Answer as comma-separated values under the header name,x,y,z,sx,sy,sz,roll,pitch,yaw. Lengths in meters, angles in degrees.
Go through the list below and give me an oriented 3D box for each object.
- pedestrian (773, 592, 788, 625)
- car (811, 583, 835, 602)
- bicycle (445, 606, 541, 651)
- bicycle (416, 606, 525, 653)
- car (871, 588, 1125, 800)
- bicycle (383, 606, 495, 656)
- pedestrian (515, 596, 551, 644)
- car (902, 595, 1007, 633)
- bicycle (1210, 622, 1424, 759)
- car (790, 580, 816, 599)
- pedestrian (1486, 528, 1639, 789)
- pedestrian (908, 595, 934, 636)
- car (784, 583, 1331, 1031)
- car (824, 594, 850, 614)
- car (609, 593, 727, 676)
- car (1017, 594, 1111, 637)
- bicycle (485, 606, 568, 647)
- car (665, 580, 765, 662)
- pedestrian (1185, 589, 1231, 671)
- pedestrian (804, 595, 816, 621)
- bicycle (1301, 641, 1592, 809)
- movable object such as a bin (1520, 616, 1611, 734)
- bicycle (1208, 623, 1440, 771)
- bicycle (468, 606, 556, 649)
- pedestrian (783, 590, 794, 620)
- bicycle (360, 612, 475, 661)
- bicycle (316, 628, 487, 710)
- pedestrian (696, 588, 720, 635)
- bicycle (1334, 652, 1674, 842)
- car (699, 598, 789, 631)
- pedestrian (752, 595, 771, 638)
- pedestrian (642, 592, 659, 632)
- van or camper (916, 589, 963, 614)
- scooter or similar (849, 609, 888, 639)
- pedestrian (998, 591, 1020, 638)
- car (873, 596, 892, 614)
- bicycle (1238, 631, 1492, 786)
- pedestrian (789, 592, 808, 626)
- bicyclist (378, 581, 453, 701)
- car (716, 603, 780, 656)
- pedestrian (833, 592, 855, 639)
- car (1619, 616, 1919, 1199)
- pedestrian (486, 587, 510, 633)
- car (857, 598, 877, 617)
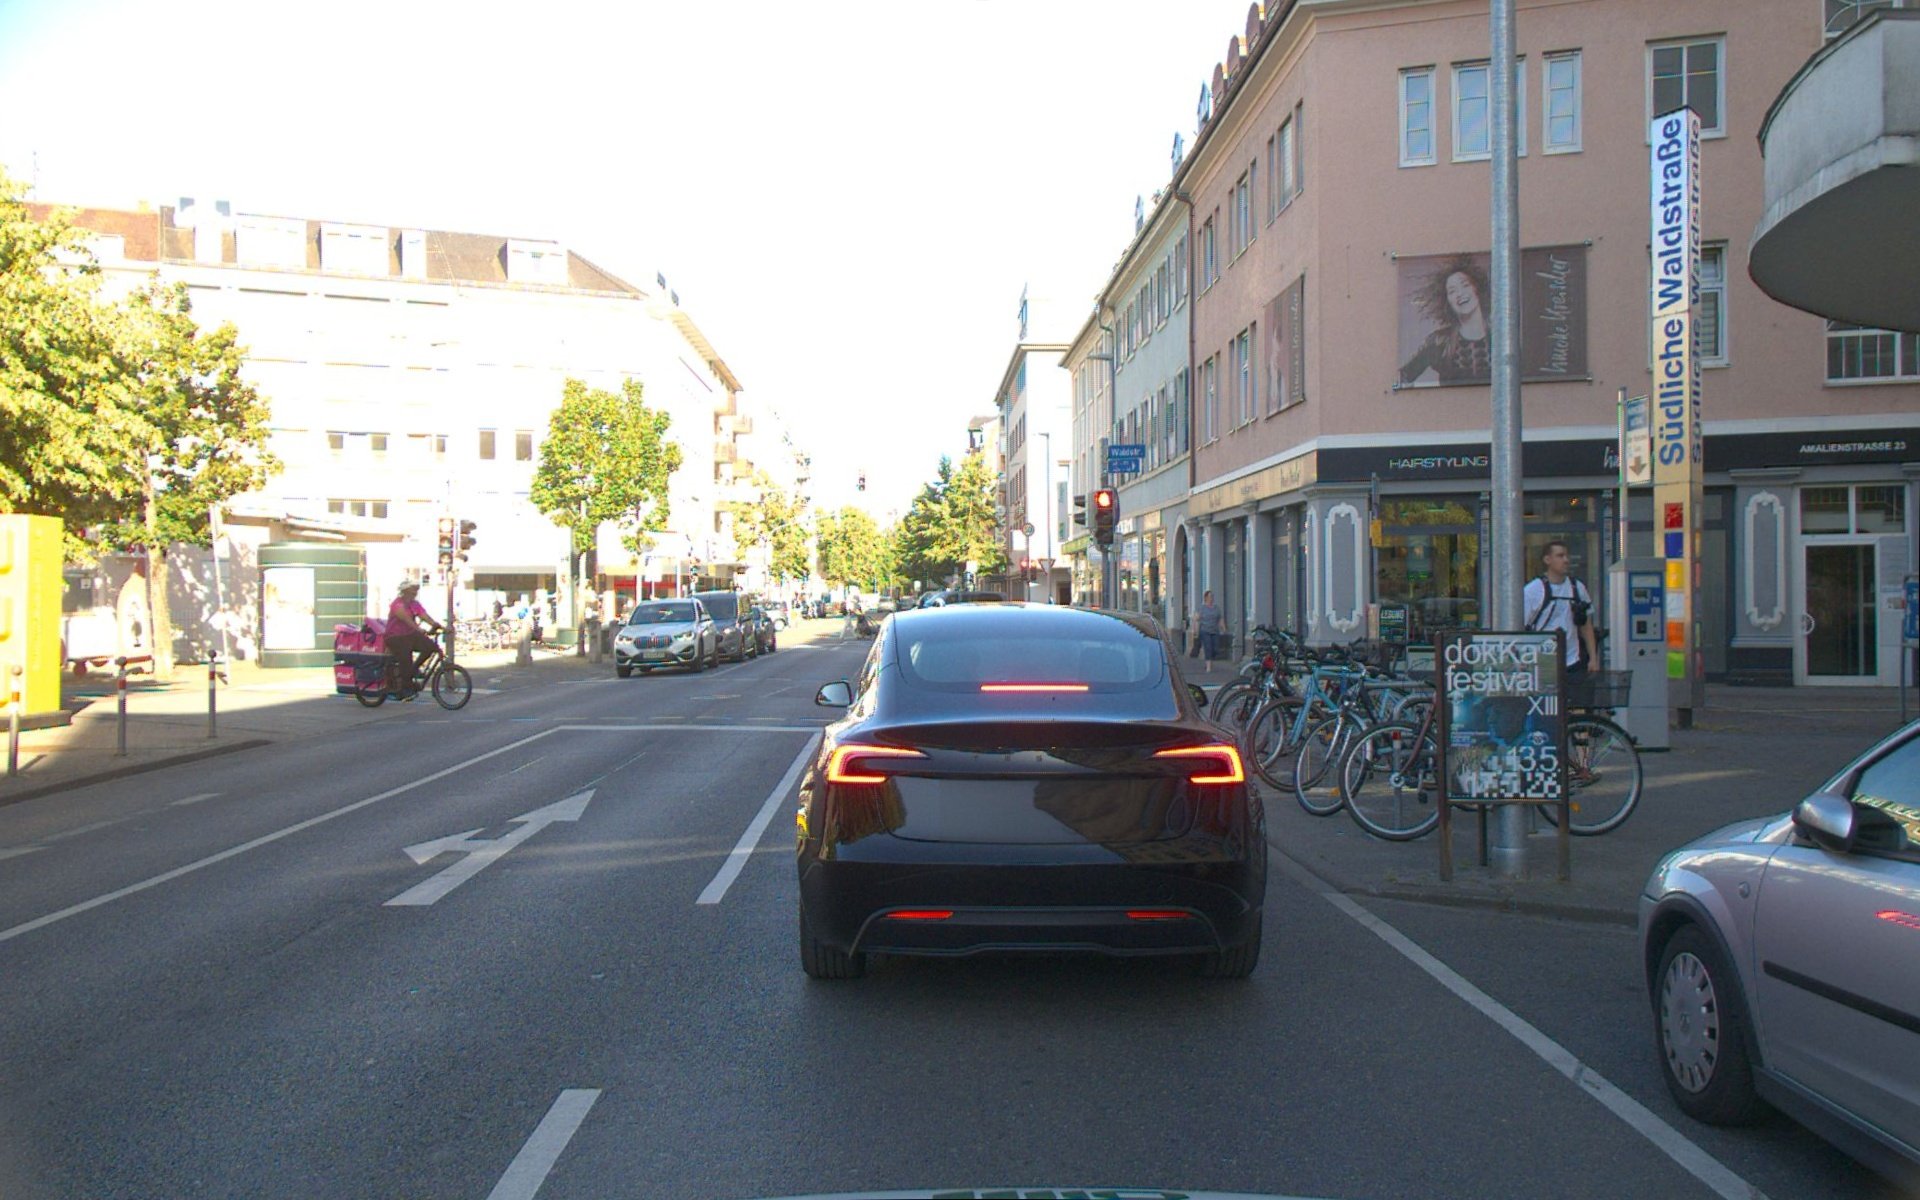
name,x,y,z,sx,sy,sz,roll,pitch,yaw
pedestrian,-10.524,0.504,97.081,0.721,1.900,0.787,1,-1,-17
car,-15.594,-0.809,188.054,2.228,2.049,4.717,1,0,0
bicycle,-14.007,0.850,49.635,2.609,1.281,0.942,1,0,-4
bicycle,-13.998,0.835,47.316,2.818,1.292,0.942,1,0,-4
car,0.244,0.689,14.187,1.812,1.507,4.450,1,0,-1
bicycle,-14.122,0.848,44.915,2.725,1.296,0.932,1,0,-4
pedestrian,-14.799,0.697,57.346,1.077,1.639,1.259,1,0,-20
car,-0.279,0.728,84.651,5.124,1.899,1.871,0,0,-23
bicycle,3.163,0.795,14.768,1.776,1.172,0.653,0,0,0
car,-17.011,-1.122,179.398,2.228,2.049,4.717,1,0,0
pedestrian,4.471,0.417,12.335,0.792,1.855,0.983,1,-1,2
pedestrian,-1.583,0.624,66.892,0.800,1.637,0.700,1,-1,-38
car,0.300,0.703,7.763,1.812,1.472,4.450,1,0,-1
car,-12.338,0.403,166.254,2.365,2.004,4.677,0,0,-1
car,-6.321,0.715,36.229,1.788,1.592,4.299,-3,0,-1
car,4.716,0.708,74.732,3.937,1.900,1.686,0,0,-22
bicycle,-14.225,0.862,54.331,2.491,1.273,0.942,1,0,-4
car,-6.229,0.510,42.557,1.906,1.981,4.819,0,0,-1
pedestrian,4.871,0.578,32.478,0.773,1.576,0.724,1,-1,0
pedestrian,-11.172,0.603,123.272,0.684,1.900,0.904,1,-1,-20
bicycle,3.251,0.825,11.154,1.776,1.078,0.653,0,0,0
movable object such as a bin,6.043,0.735,16.533,0.623,1.122,0.728,-2,0,3
bicycle,2.979,0.786,13.631,1.776,1.172,0.653,0,0,0
bicycle,-14.059,0.854,51.909,2.491,1.273,0.942,1,0,-4
pedestrian,-10.762,0.319,103.706,0.681,1.900,0.658,1,-1,-6
bicycle,-13.947,0.929,42.578,2.607,1.216,0.942,1,0,-4
bicycle,-8.431,1.029,25.004,2.339,1.171,0.713,1,-1,6
pedestrian,-9.747,0.427,63.863,0.830,1.790,0.704,1,-1,-15
bicycle,3.280,0.878,10.082,1.844,1.062,0.653,-1,0,0
car,-10.371,0.669,79.416,4.062,1.557,1.541,0,0,-22
pedestrian,-7.741,0.640,64.559,0.692,1.637,0.606,1,-1,-9
pedestrian,-12.151,0.483,64.878,0.613,1.550,0.577,1,-1,-14
van or camper,-2.062,0.179,167.511,4.752,2.481,1.850,0,0,-1
scooter or similar,-3.578,0.936,64.481,1.317,1.154,0.803,1,-1,-25
pedestrian,2.028,0.607,68.514,0.692,1.910,0.809,1,-1,19
car,-7.969,0.515,170.685,1.854,1.845,3.923,1,0,-2
bicycle,3.050,0.808,12.558,1.776,1.121,0.653,0,0,0
pedestrian,-9.308,0.518,95.366,0.719,1.900,0.790,1,-1,28
bicyclist,-8.213,0.611,24.981,0.846,1.786,0.681,0,-1,6
car,-6.333,0.858,49.683,1.431,1.455,3.605,-3,0,-1
pedestrian,-4.477,0.587,64.023,0.649,1.790,0.649,1,-1,-24
car,2.922,0.784,3.529,1.551,1.451,3.579,1,0,-1
pedestrian,-21.182,0.455,75.870,0.911,2.049,0.852,1,-1,-26
car,-10.495,0.837,186.958,2.089,2.004,4.133,0,0,-1
